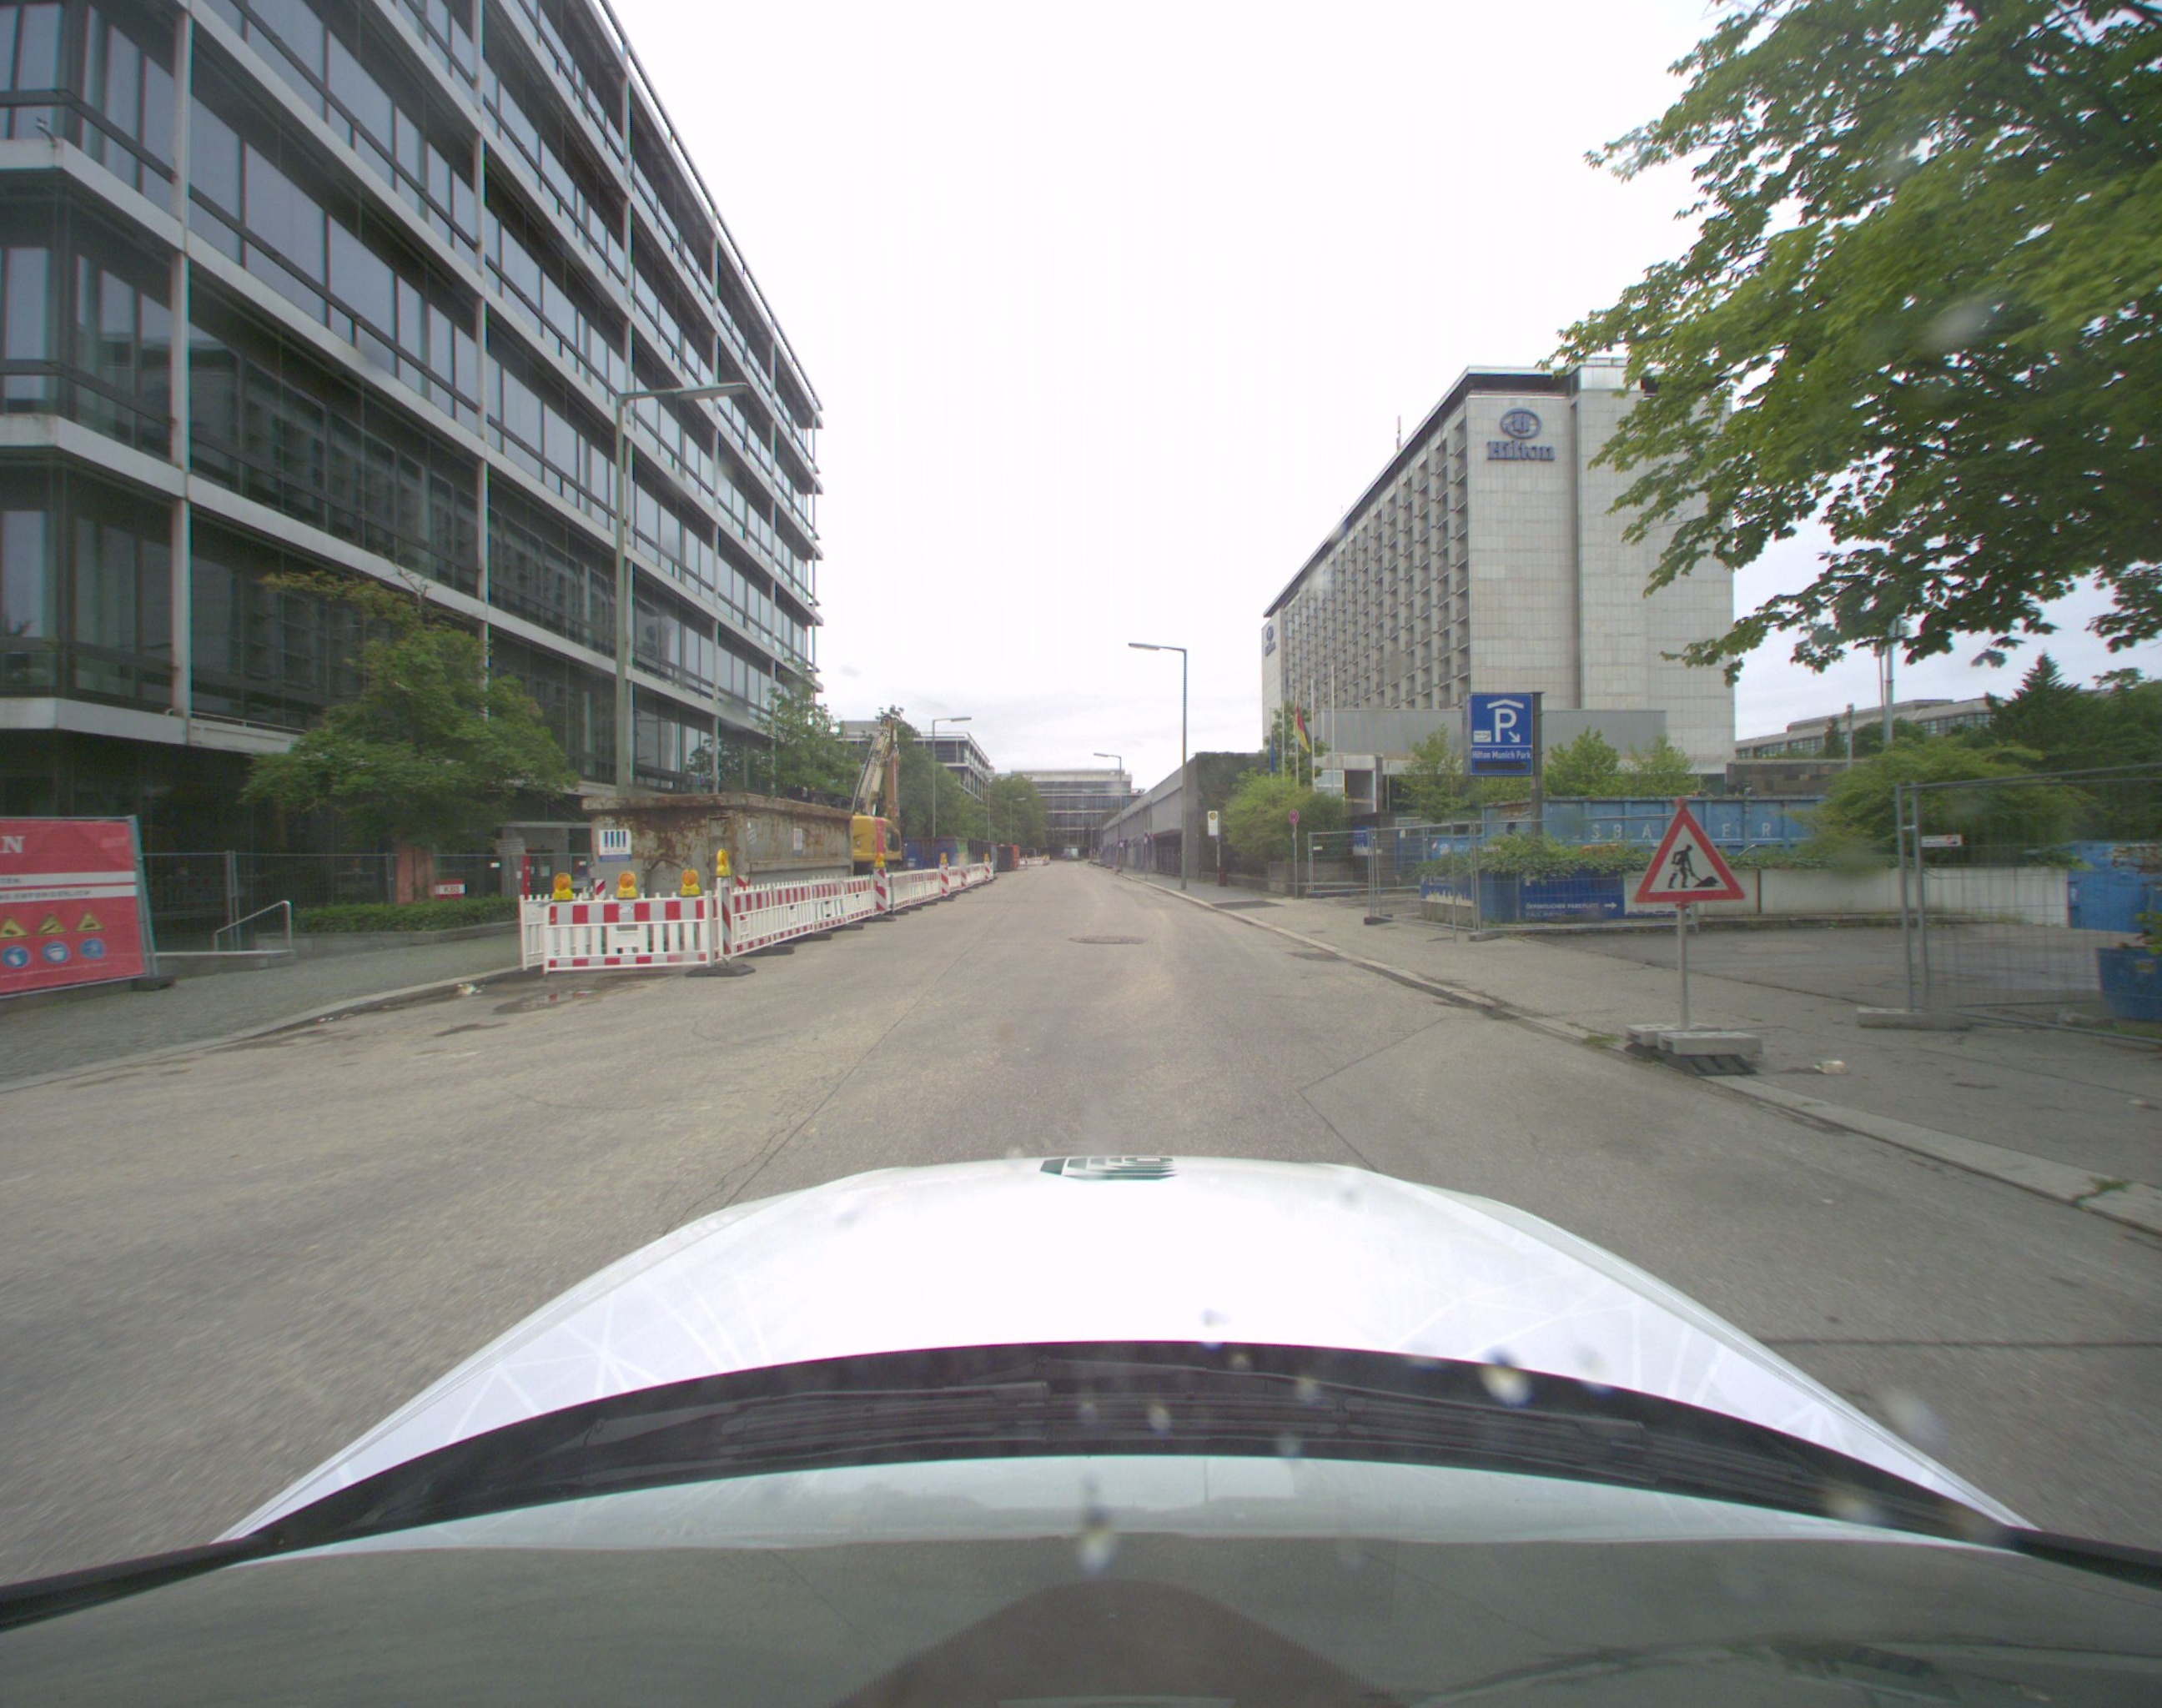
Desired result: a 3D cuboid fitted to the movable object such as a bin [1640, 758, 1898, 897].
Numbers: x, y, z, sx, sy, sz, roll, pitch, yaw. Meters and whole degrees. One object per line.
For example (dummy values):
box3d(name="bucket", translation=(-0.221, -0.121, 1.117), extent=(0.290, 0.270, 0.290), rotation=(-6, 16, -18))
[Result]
box3d(name="movable object such as a bin", translation=(21.182, -0.768, 25.051), extent=(7.199, 3.683, 3.854), rotation=(-1, 0, -30))

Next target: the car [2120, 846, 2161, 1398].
box3d(name="car", translation=(3.793, 0.676, 0.290), extent=(1.529, 1.492, 4.055), rotation=(-1, -1, -4))

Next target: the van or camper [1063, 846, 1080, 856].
box3d(name="van or camper", translation=(-2.302, -0.799, 199.777), extent=(2.096, 2.492, 5.023), rotation=(0, 0, -27))

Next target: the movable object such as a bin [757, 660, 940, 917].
box3d(name="movable object such as a bin", translation=(-6.959, -1.650, 26.714), extent=(2.896, 6.564, 11.775), rotation=(-1, -1, -2))
